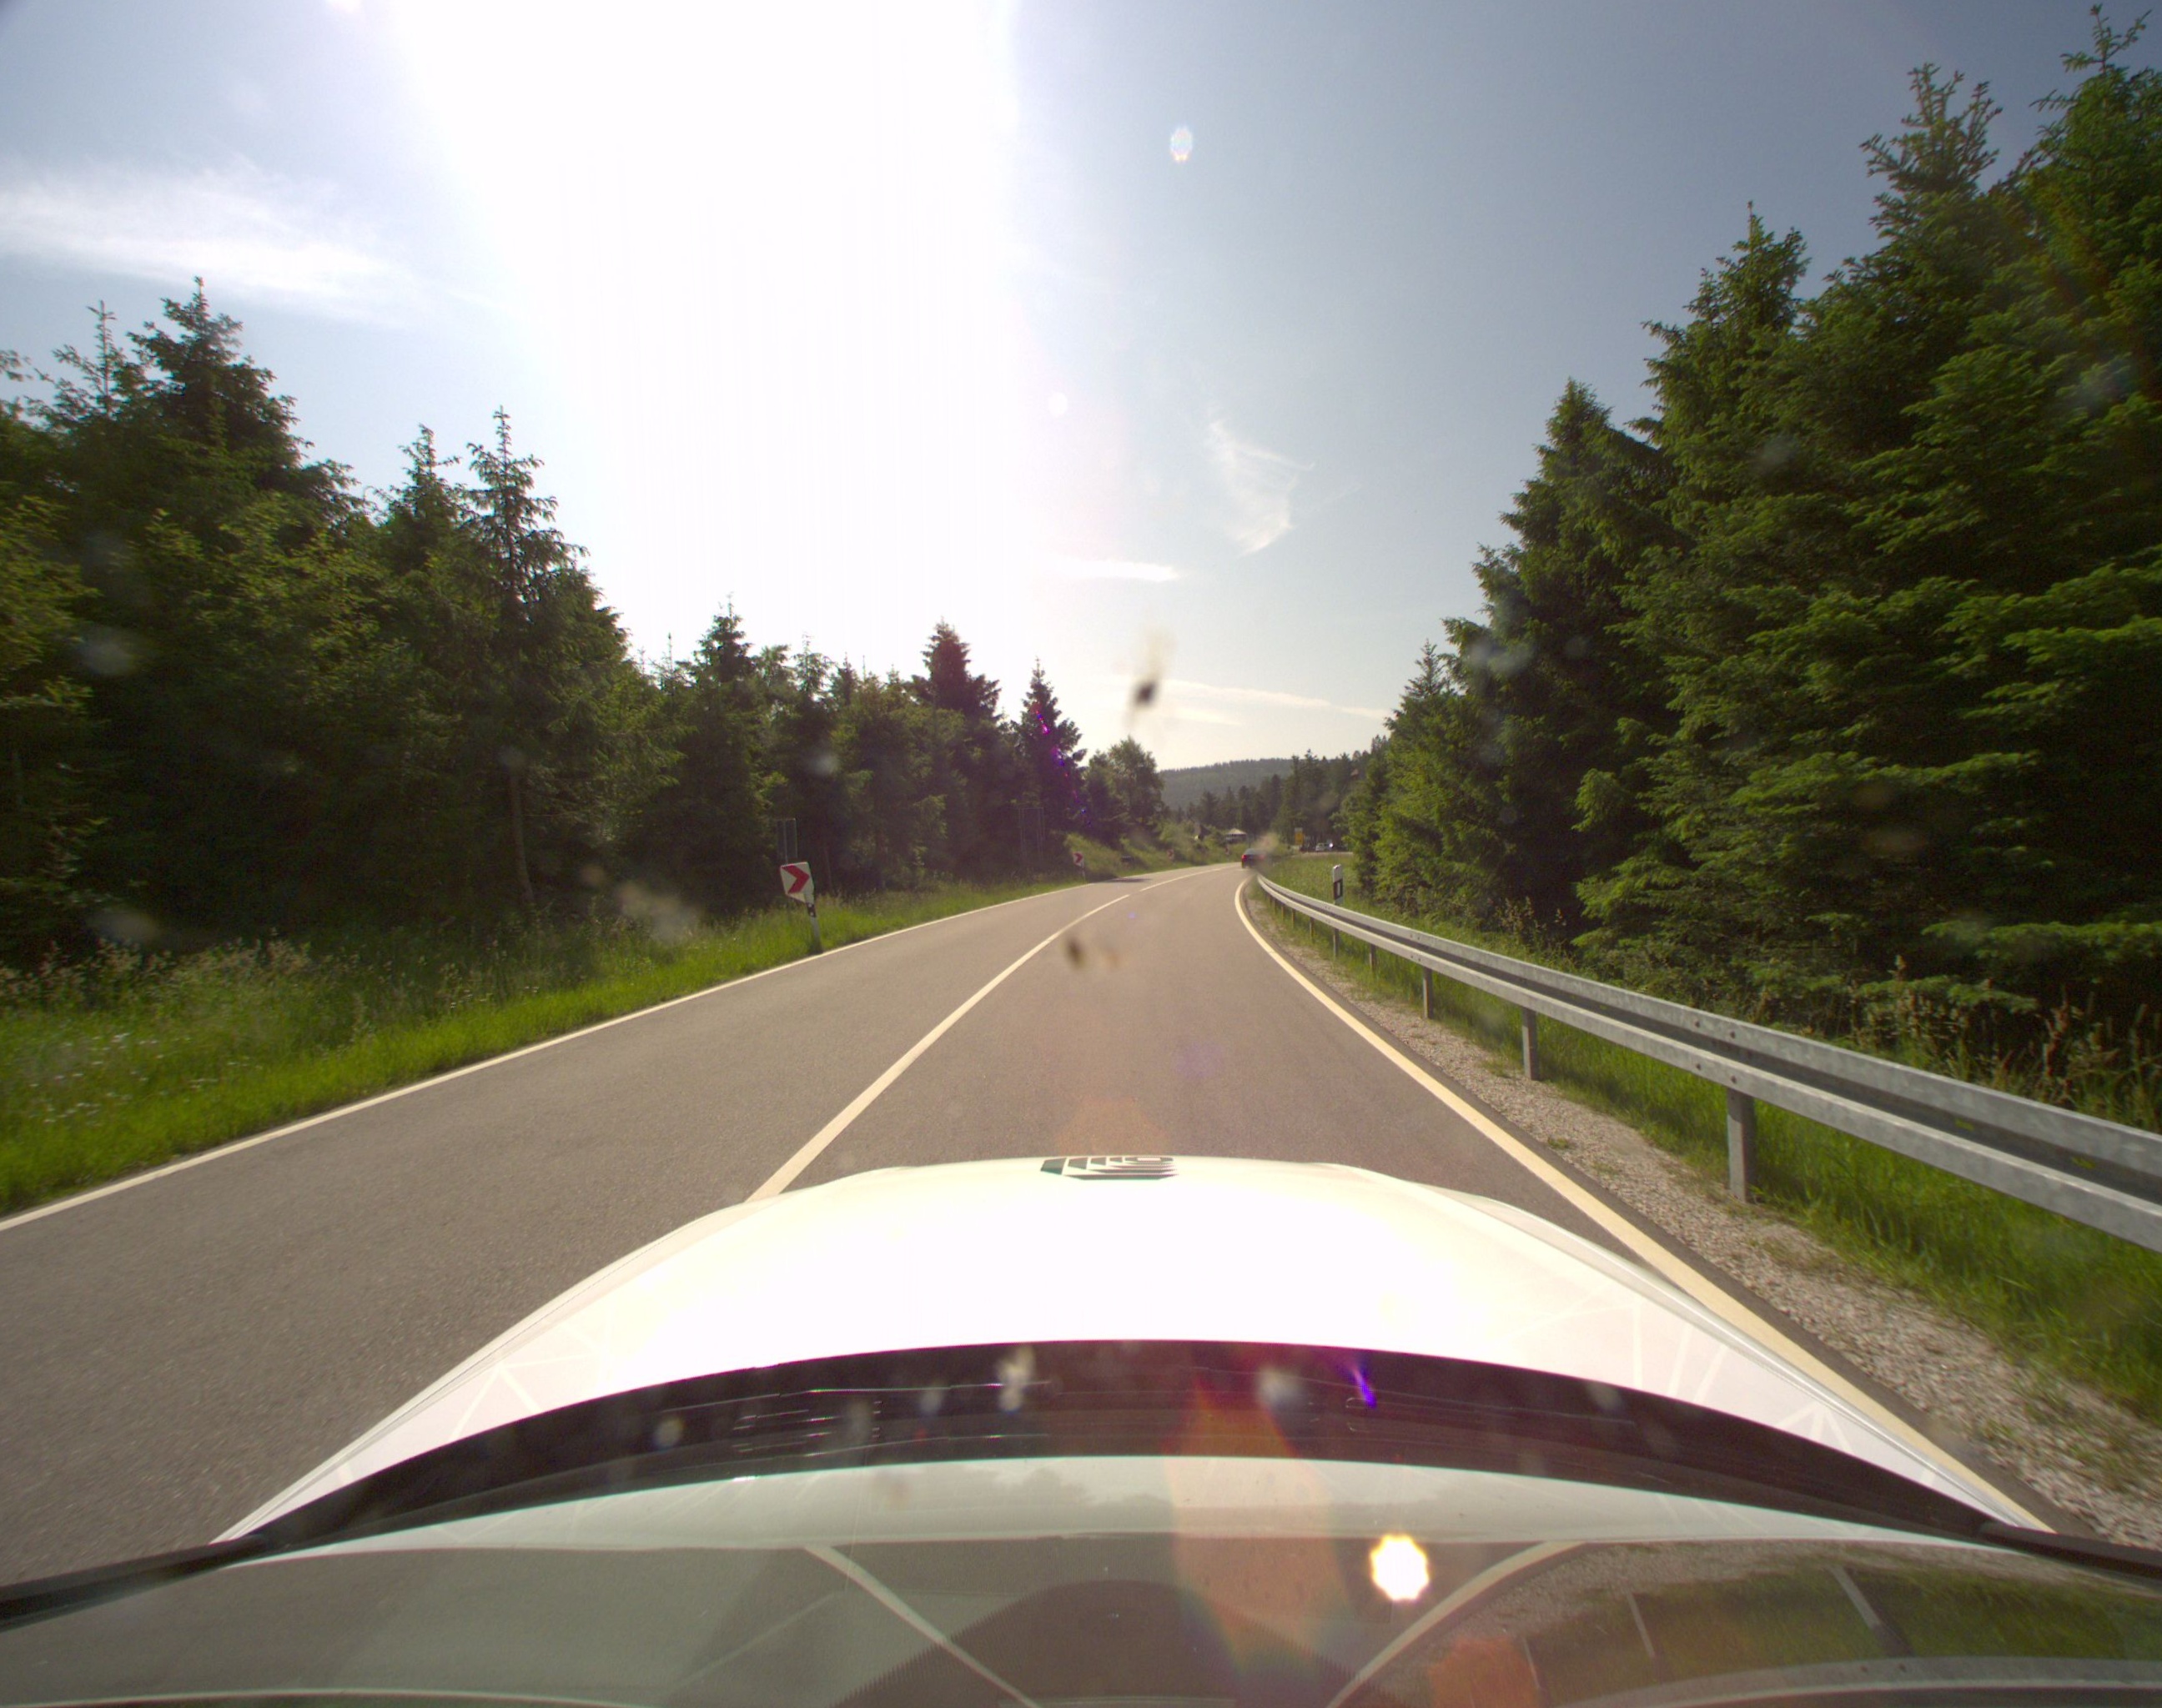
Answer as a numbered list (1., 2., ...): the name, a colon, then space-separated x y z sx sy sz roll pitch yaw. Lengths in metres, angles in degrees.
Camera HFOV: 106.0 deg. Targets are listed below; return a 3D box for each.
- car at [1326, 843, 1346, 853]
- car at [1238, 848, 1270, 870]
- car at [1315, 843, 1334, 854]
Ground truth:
1. car: 44.818 -1.031 142.992 1.869 1.648 4.323 -3 0 36
2. car: 12.520 0.317 58.734 1.762 1.441 3.727 2 2 18
3. car: 43.332 -0.950 144.999 1.836 1.671 4.413 -3 0 36
